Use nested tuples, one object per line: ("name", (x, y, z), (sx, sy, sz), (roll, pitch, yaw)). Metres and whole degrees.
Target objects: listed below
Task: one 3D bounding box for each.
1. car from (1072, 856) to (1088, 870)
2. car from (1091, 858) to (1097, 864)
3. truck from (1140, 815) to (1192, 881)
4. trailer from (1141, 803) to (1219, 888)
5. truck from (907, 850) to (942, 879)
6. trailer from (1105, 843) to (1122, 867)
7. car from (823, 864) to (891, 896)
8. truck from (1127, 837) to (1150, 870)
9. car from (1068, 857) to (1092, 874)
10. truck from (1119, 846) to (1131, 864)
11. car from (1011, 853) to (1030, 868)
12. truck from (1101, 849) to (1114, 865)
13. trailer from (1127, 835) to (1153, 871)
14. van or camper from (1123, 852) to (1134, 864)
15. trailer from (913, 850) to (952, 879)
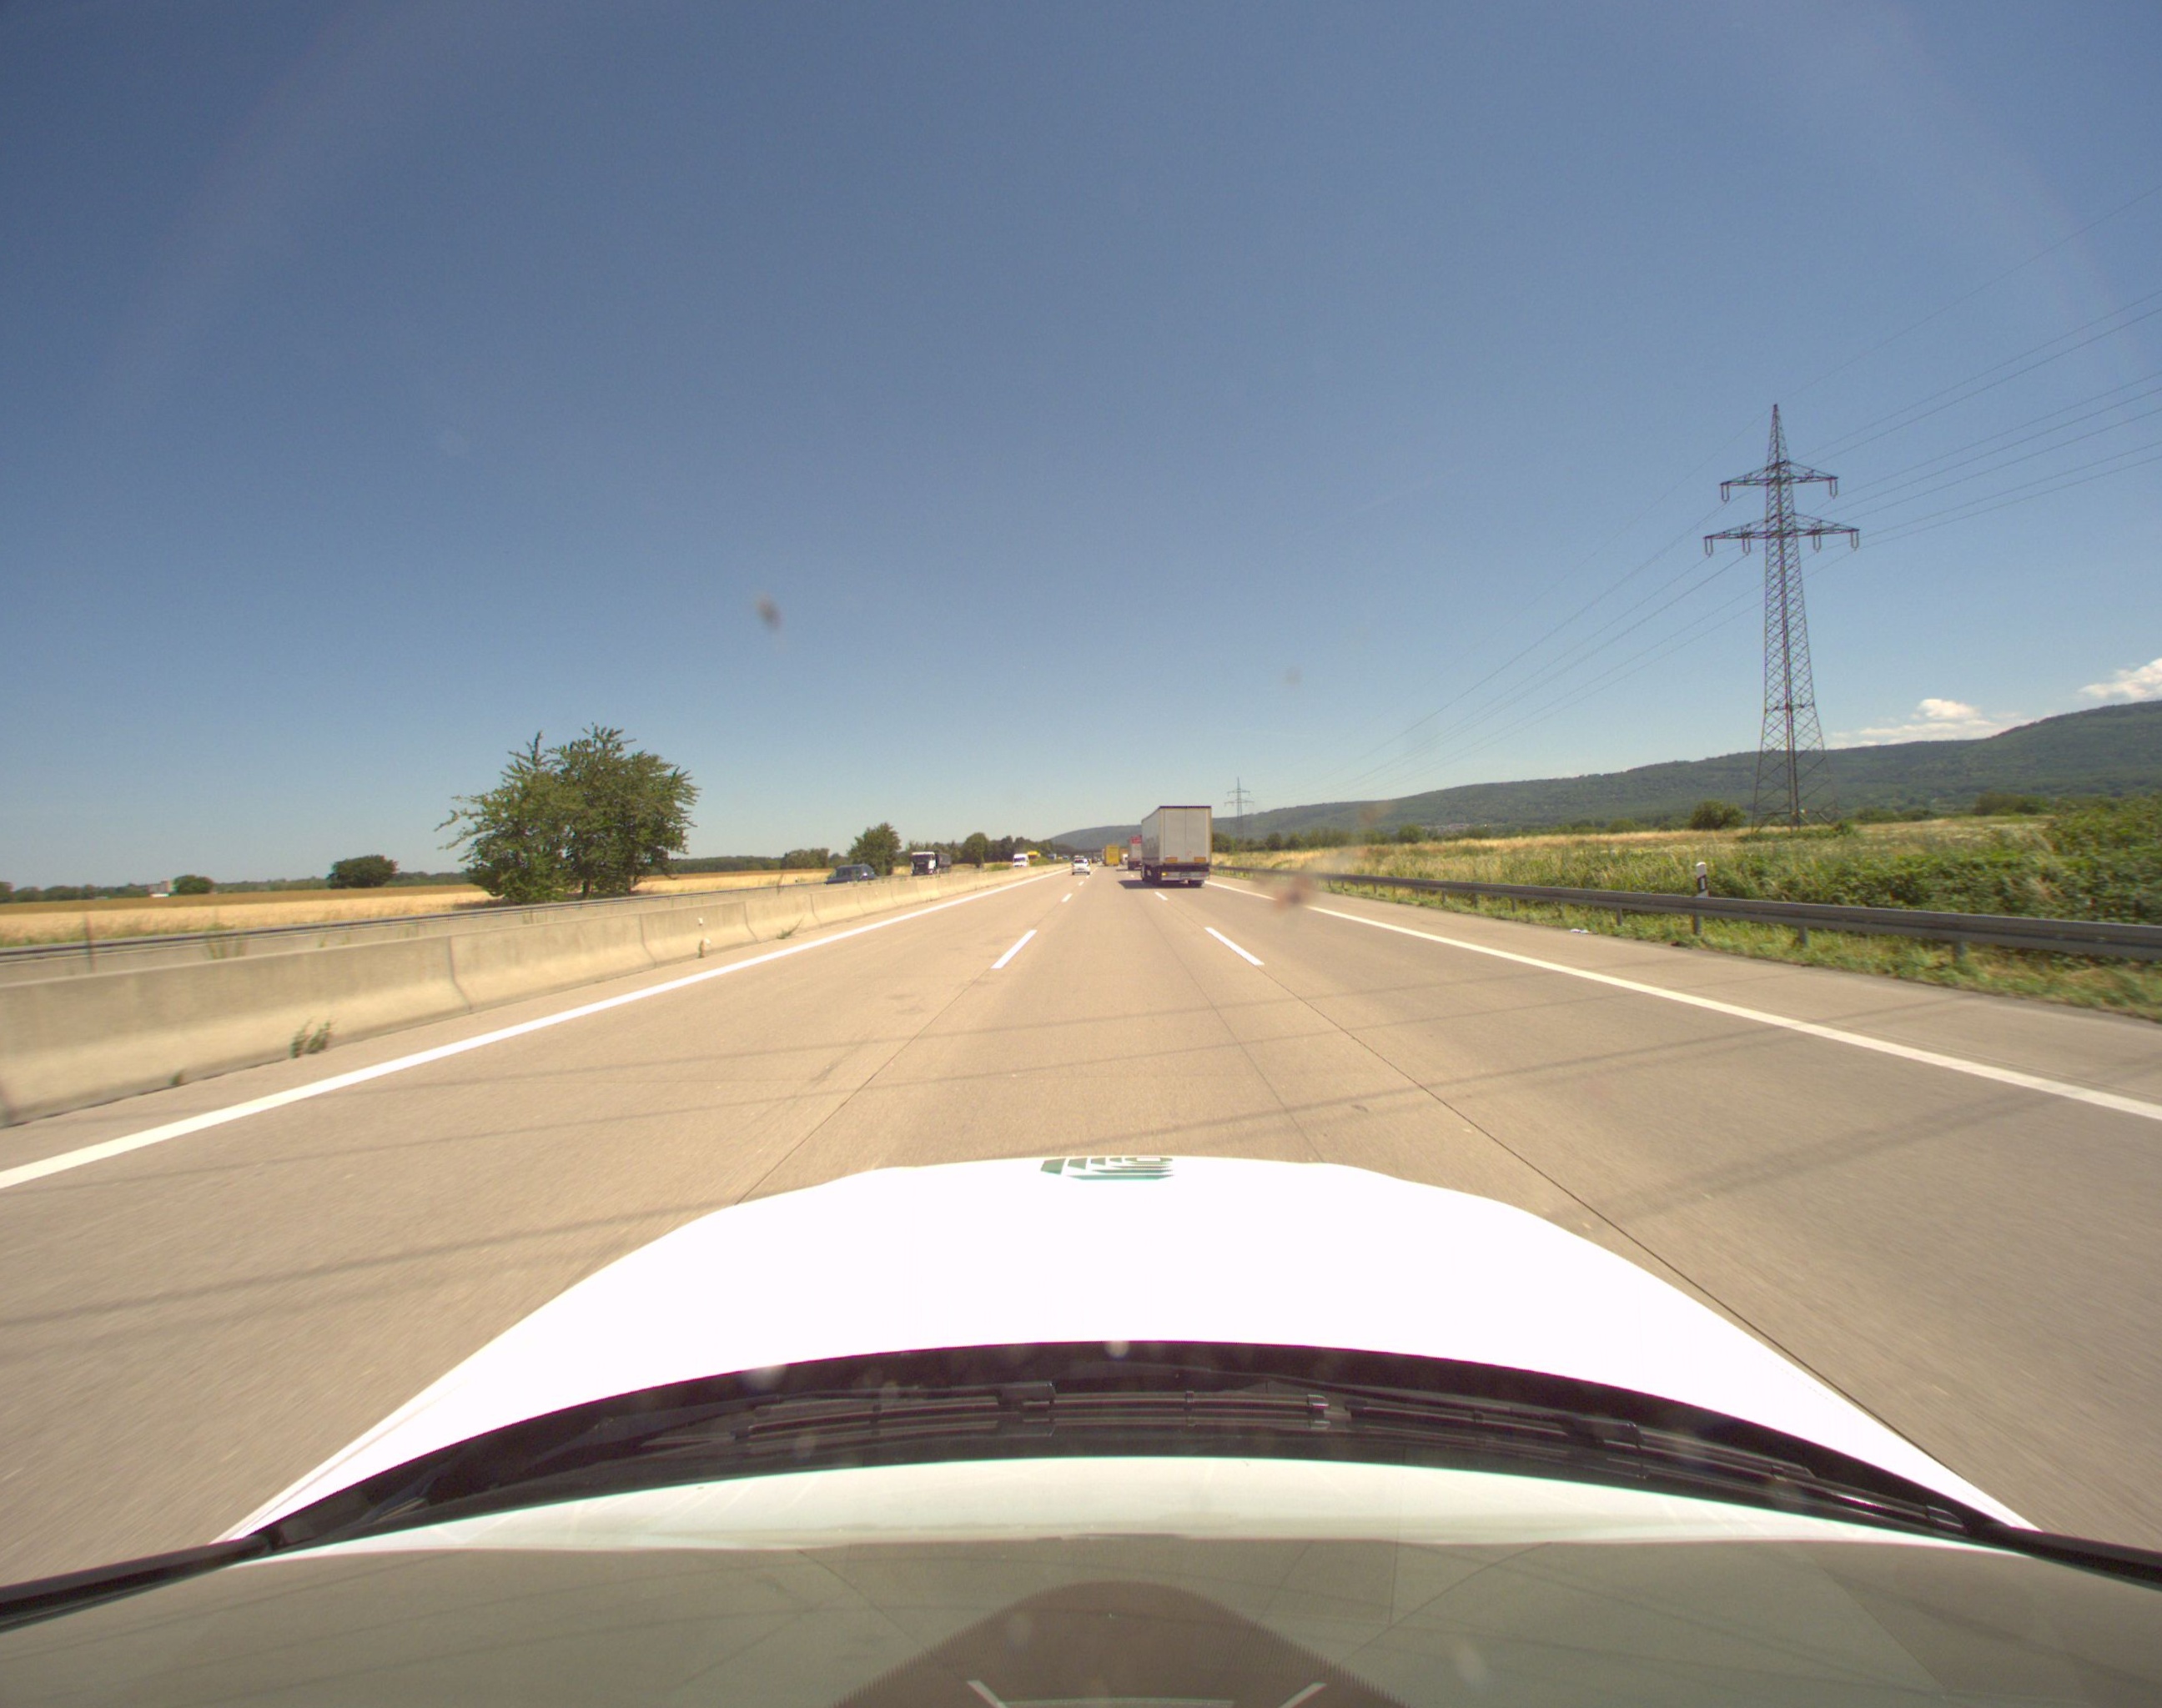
("car", (-0.150, 1.394, 124.204), (2.245, 2.014, 4.300), (0, 0, 2))
("car", (3.747, 2.029, 234.260), (1.777, 1.881, 4.002), (0, 0, 2))
("truck", (5.432, -0.357, 53.047), (2.973, 4.062, 5.480), (0, 0, 2))
("trailer", (5.265, -0.386, 46.073), (3.007, 4.061, 14.210), (0, 0, 1))
("truck", (-17.989, 1.189, 93.769), (2.796, 3.305, 5.615), (0, 0, 1))
("trailer", (6.405, 0.240, 161.518), (3.203, 4.564, 13.463), (0, 0, 2))
("car", (-11.053, 1.235, 40.536), (1.986, 1.448, 4.683), (0, 0, 1))
("truck", (7.524, -0.050, 107.203), (2.894, 4.101, 6.276), (0, 0, 2))
("car", (-0.086, 1.063, 77.646), (2.098, 1.536, 4.125), (0, 0, 3))
("truck", (11.126, 0.228, 206.575), (2.987, 4.314, 9.688), (0, 0, 2))
("car", (-8.863, 0.960, 119.444), (2.202, 2.188, 6.327), (0, 0, 2))
("truck", (7.157, 0.820, 221.016), (3.340, 4.272, 8.232), (0, 0, 2))
("trailer", (7.203, -0.080, 100.854), (2.862, 4.101, 13.521), (0, 0, 3))
("van or camper", (10.302, 0.928, 178.550), (2.216, 2.531, 5.432), (0, 0, 1))
("trailer", (-17.847, 1.213, 98.582), (2.818, 3.305, 9.465), (0, 0, 1))
